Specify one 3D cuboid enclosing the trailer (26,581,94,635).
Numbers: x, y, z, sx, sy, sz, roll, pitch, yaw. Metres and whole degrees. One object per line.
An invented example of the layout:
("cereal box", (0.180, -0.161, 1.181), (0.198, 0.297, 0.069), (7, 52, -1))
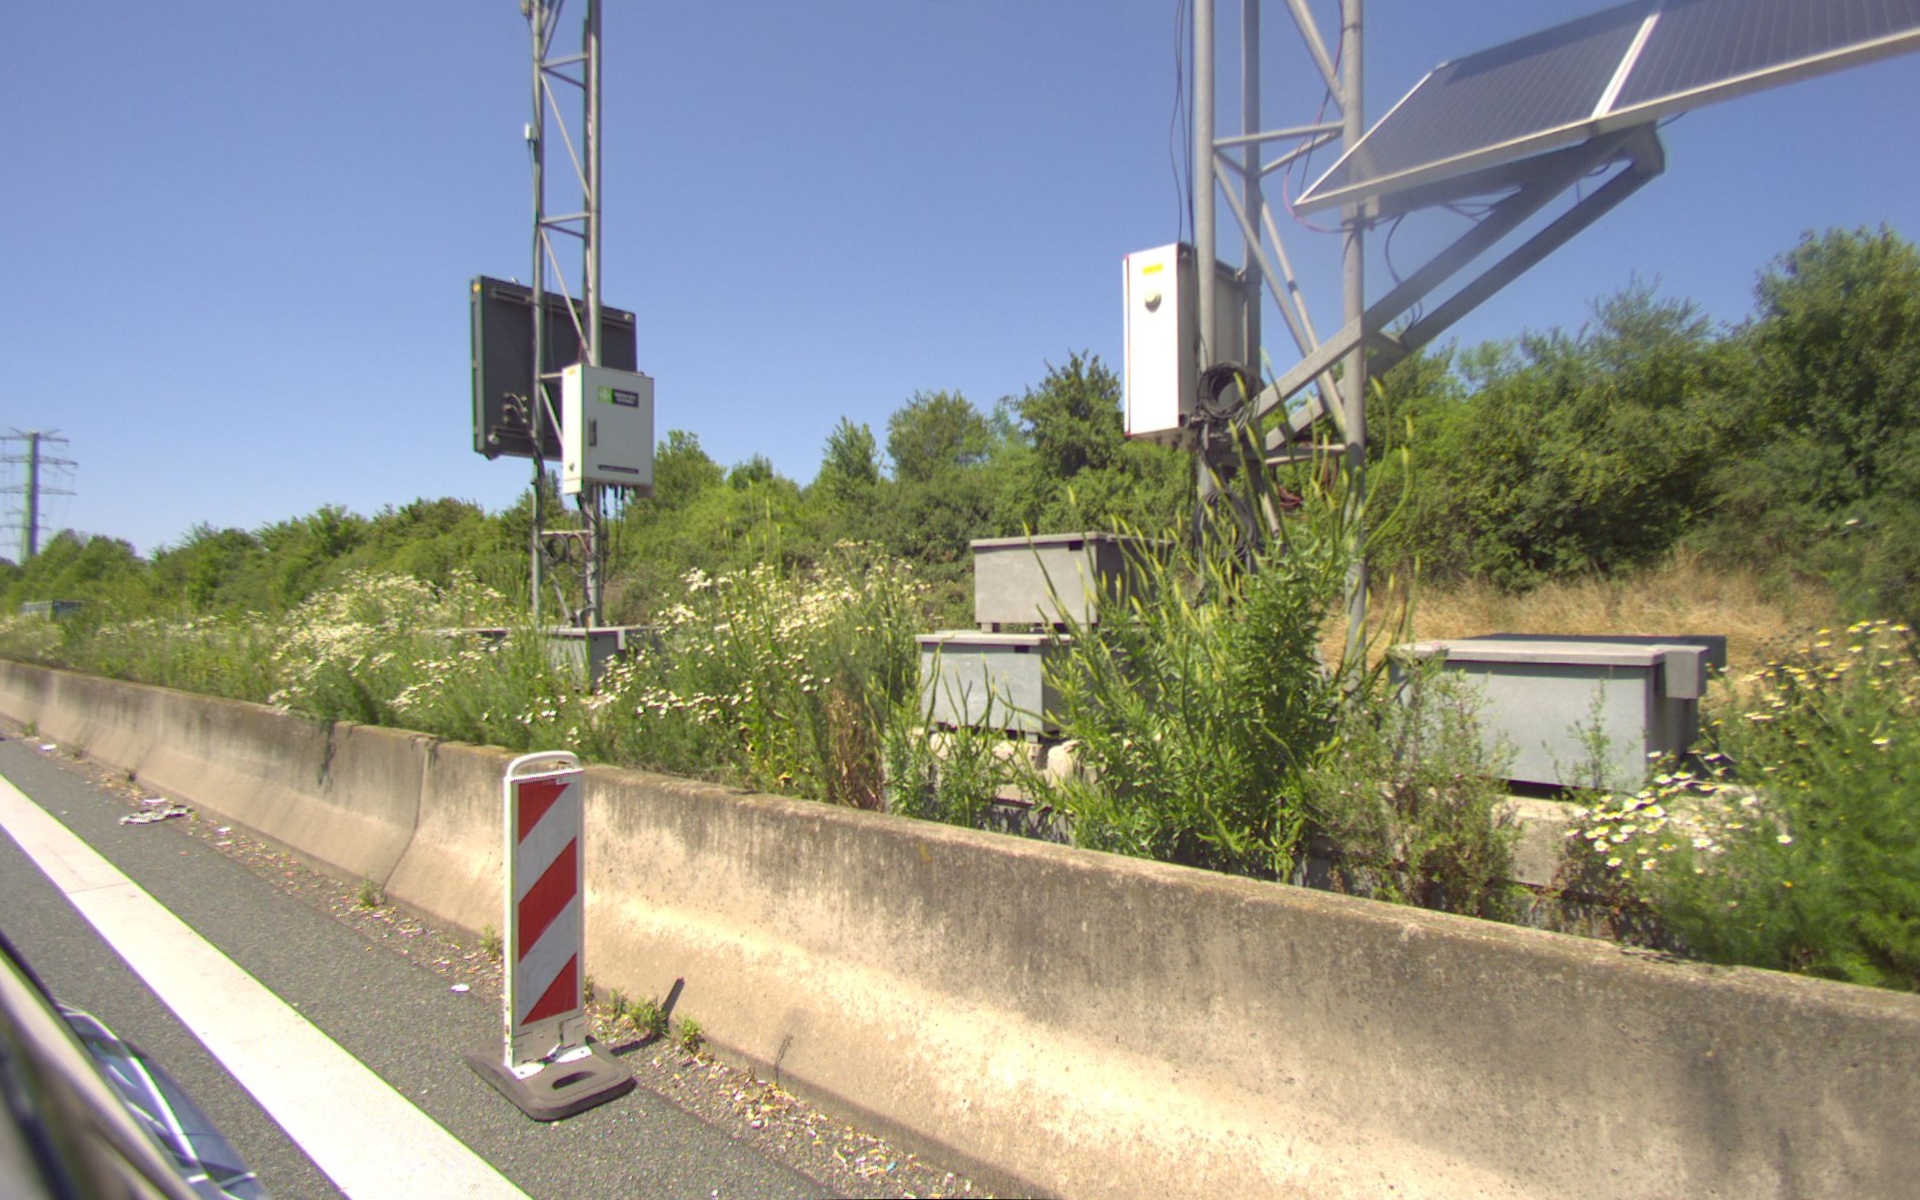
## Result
("trailer", (-79.302, 0.734, 89.073), (12.900, 4.437, 2.929), (-1, 0, 41))
